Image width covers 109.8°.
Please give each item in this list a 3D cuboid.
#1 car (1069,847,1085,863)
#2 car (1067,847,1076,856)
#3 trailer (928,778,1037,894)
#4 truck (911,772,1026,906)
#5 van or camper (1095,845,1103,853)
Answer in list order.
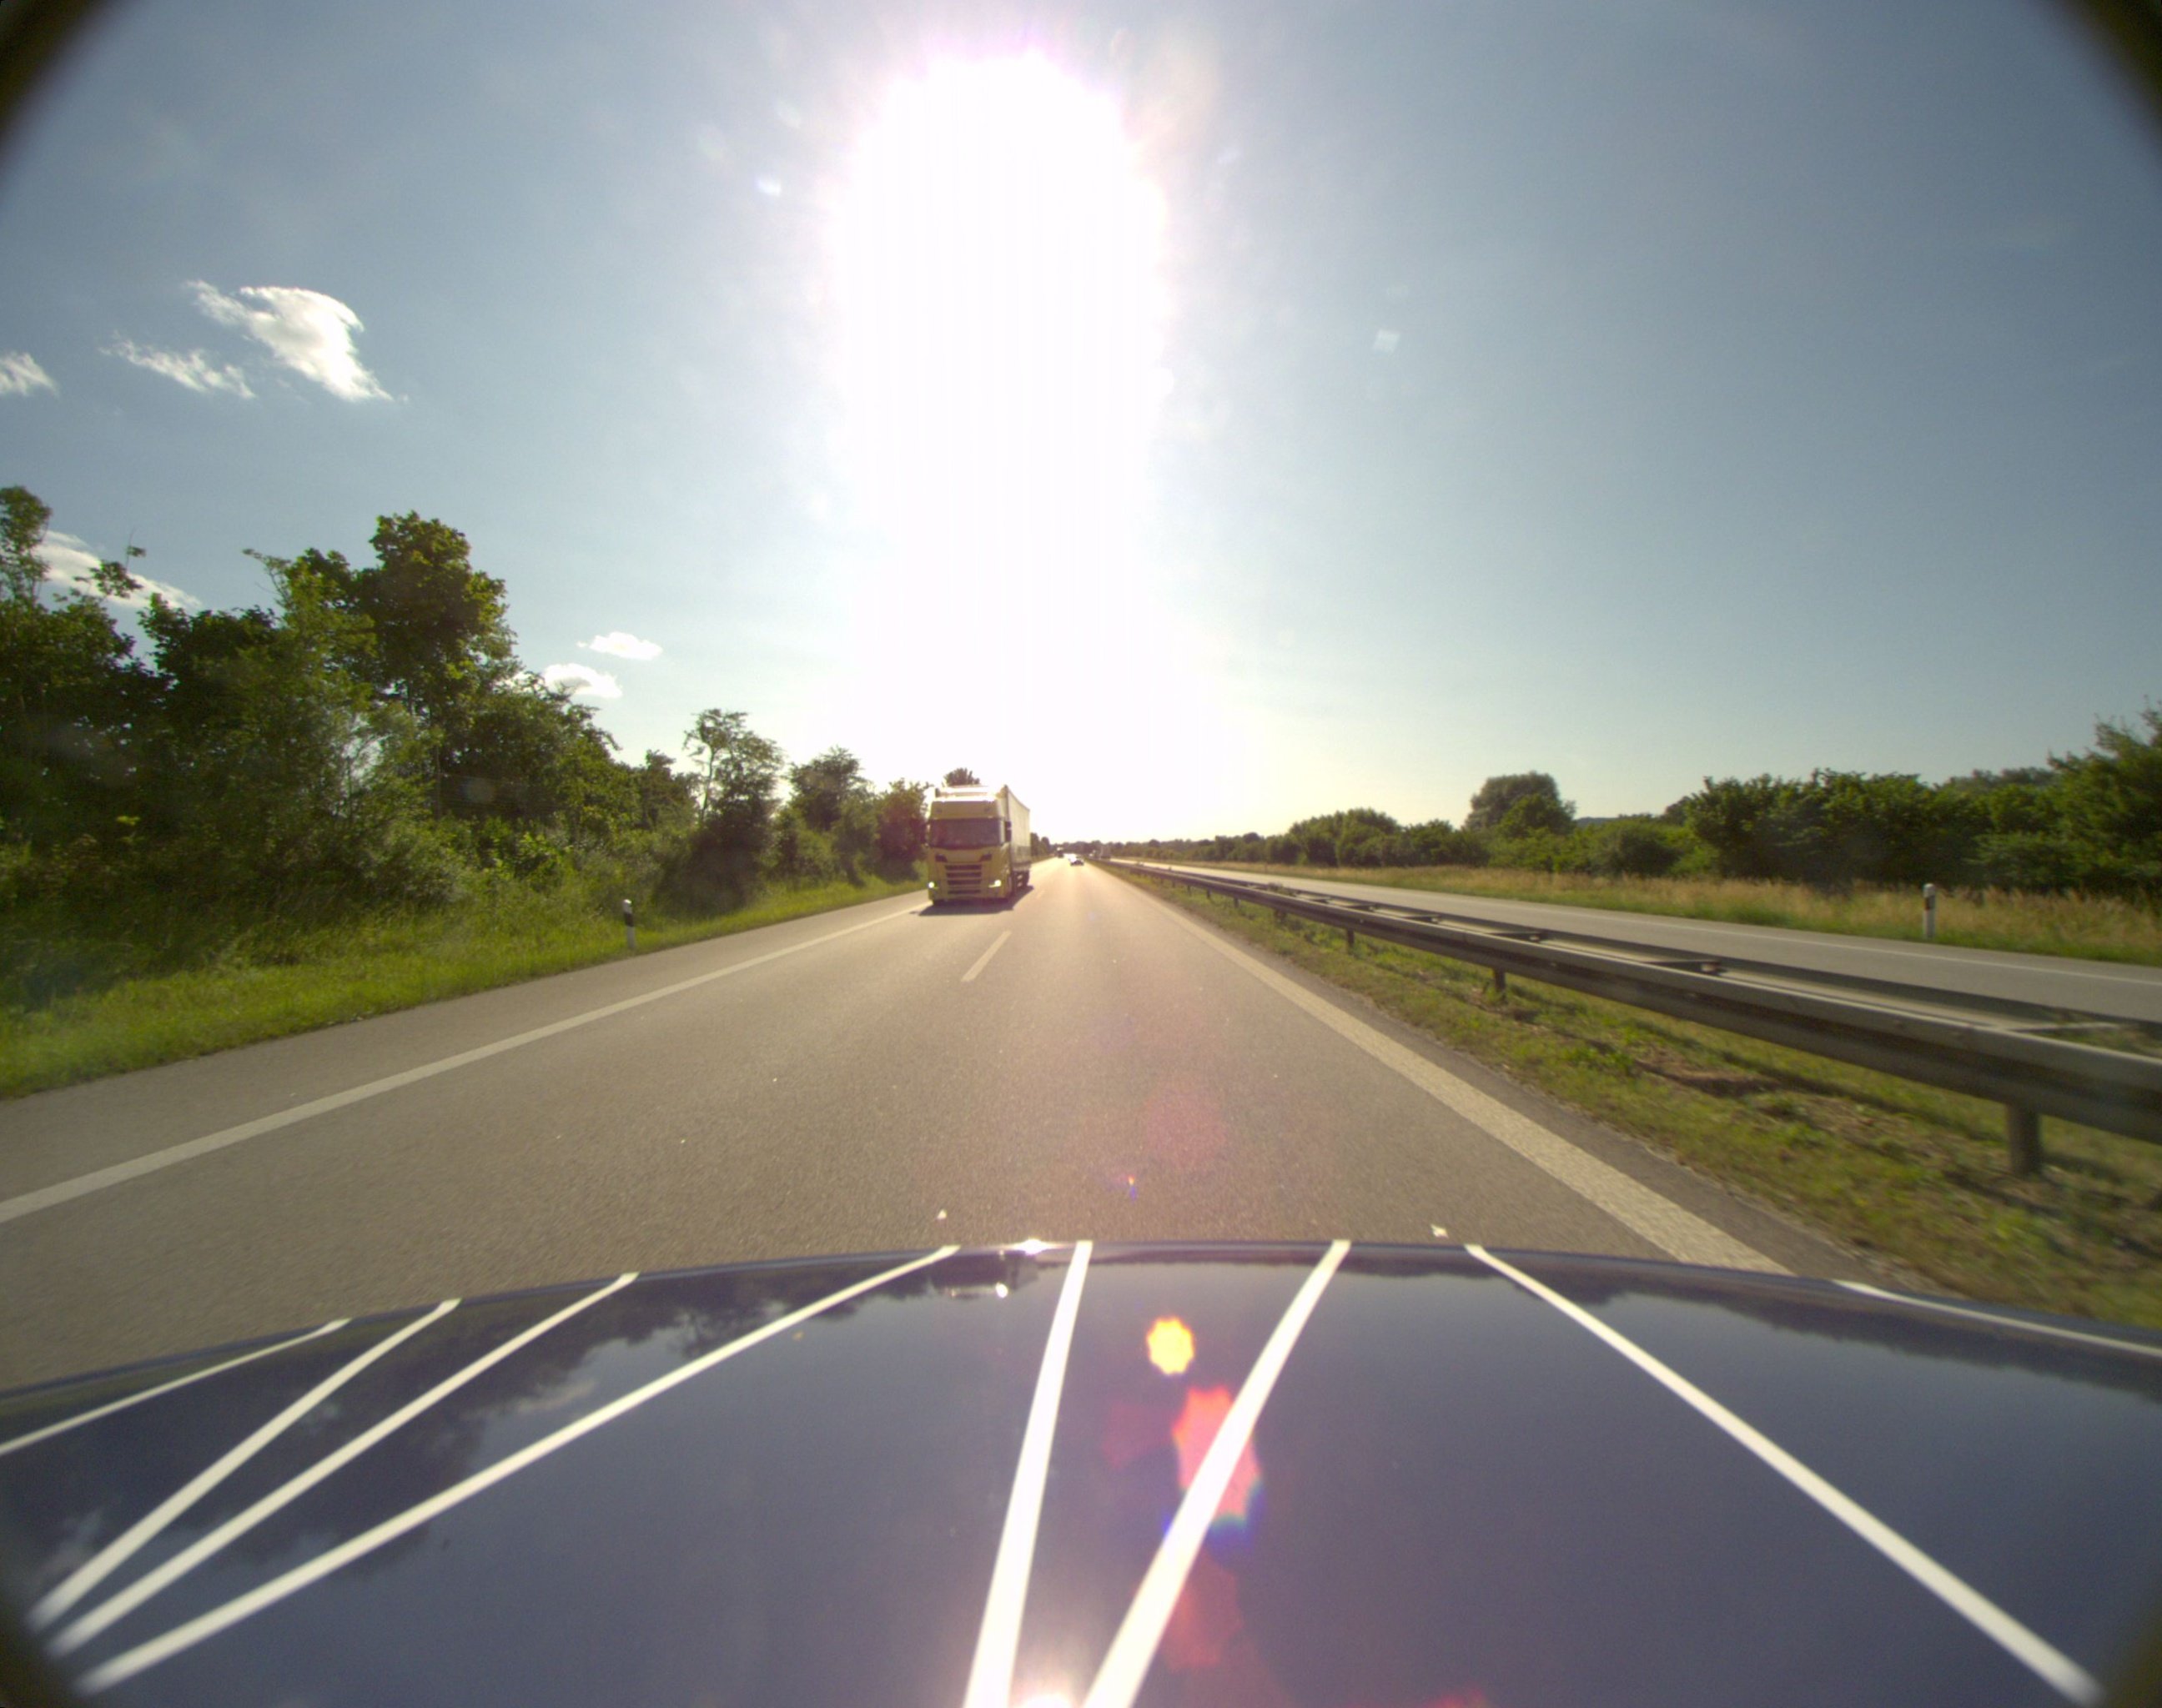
[{"bbox_3d":[-0.620,0.064,102.187,1.999,2.002,4.357,-2,1,-1],"label":"car"},{"bbox_3d":[-2.339,-0.600,181.910,1.998,2.002,3.999,-2,1,1],"label":"car"},{"bbox_3d":[-3.909,-0.727,33.913,3.193,4.036,13.183,-2,1,-1],"label":"trailer"},{"bbox_3d":[-3.777,-0.513,27.242,3.177,4.090,6.386,-3,1,-2],"label":"truck"},{"bbox_3d":[5.710,-1.764,243.062,1.999,2.482,7.226,1,1,-1],"label":"van or camper"}]
